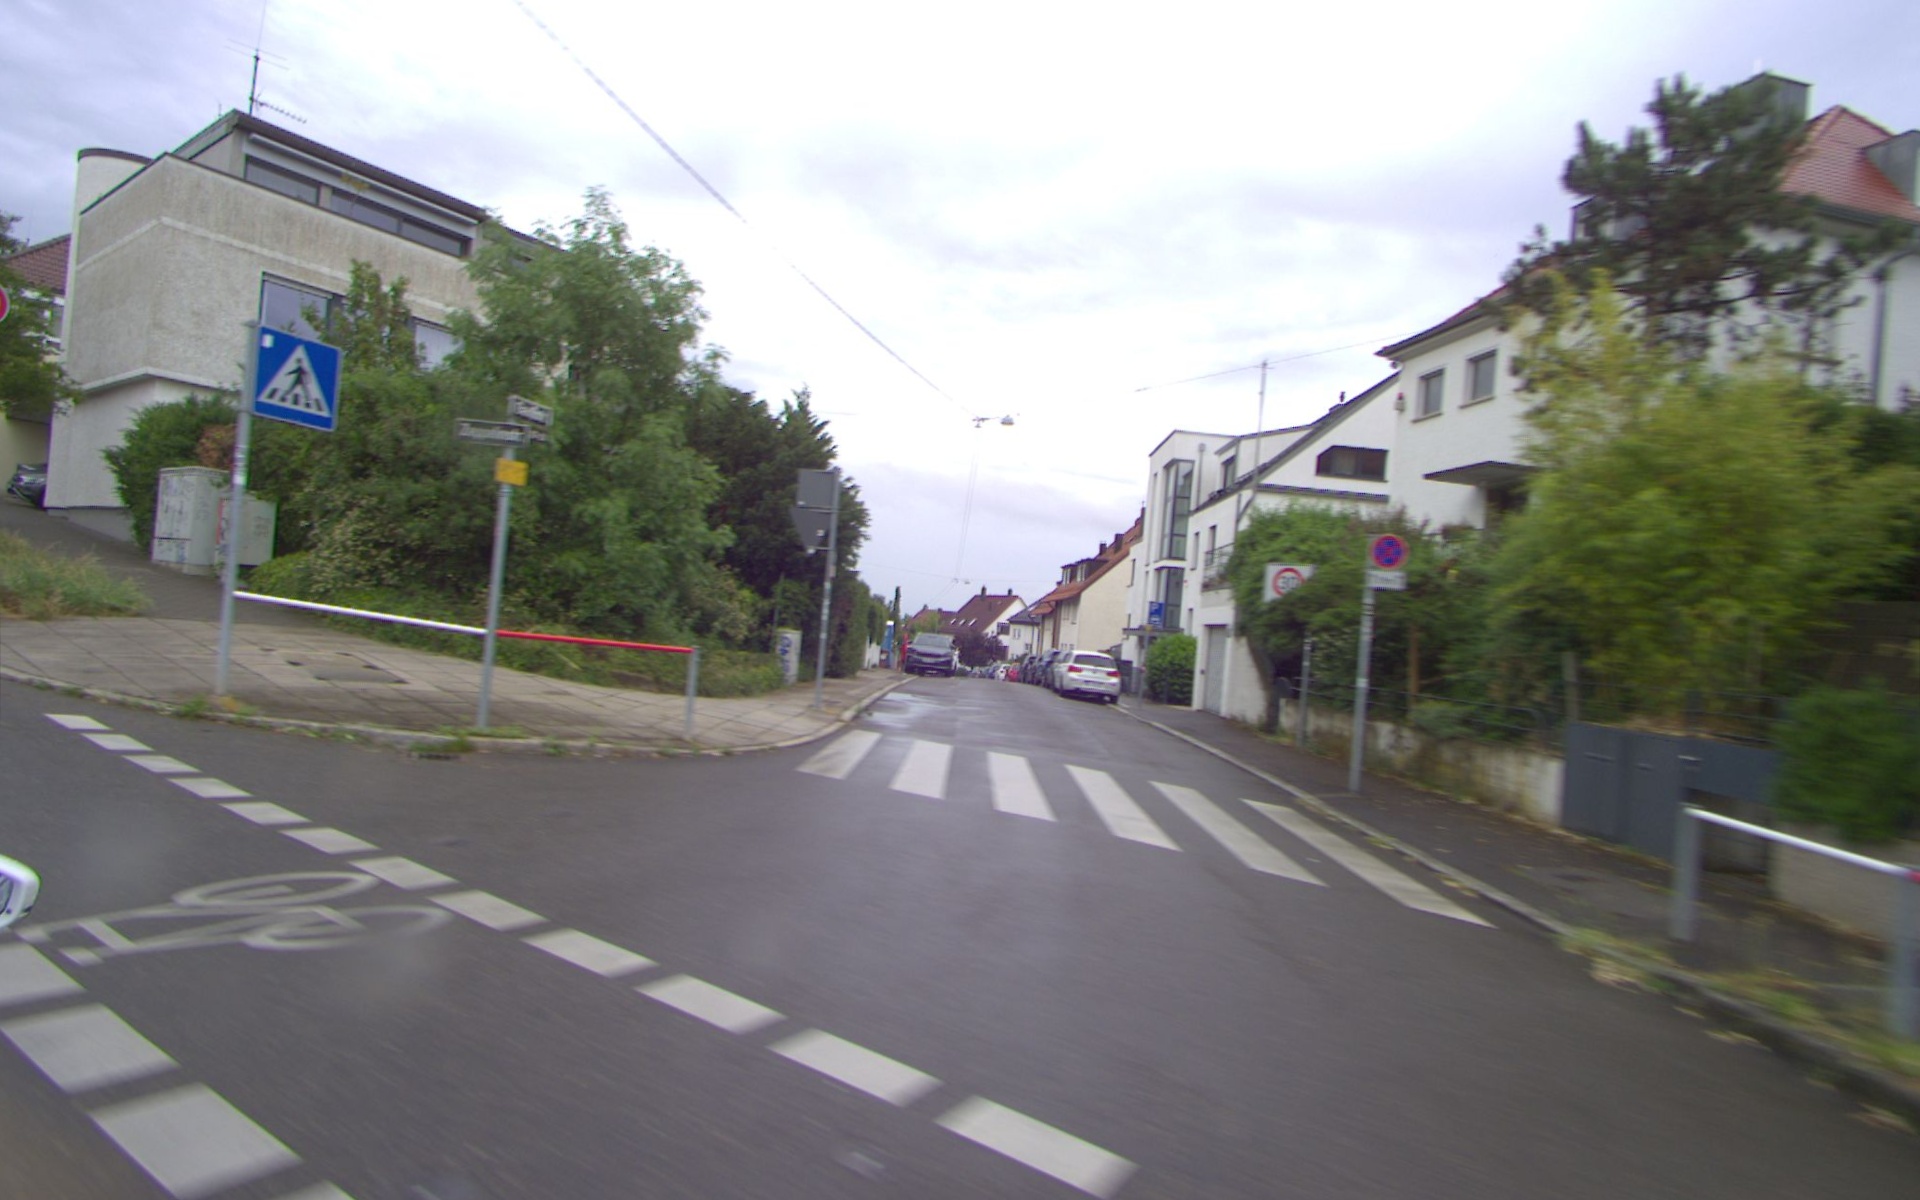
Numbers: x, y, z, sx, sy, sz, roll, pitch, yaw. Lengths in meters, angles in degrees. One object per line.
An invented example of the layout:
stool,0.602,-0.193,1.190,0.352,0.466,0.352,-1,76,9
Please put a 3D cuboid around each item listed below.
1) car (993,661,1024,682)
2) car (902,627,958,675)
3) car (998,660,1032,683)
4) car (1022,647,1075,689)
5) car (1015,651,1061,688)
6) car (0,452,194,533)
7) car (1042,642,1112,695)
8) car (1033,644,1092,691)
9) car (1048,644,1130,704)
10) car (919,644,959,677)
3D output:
car,3.458,5.115,72.109,1.831,1.245,4.004,7,-3,0
car,-1.210,2.088,40.104,1.963,1.613,4.006,6,-4,-2
car,3.601,4.683,66.406,1.831,1.245,4.004,7,-3,0
car,3.957,3.052,45.633,1.831,1.502,4.001,7,-1,0
car,3.969,3.539,51.841,1.831,1.502,4.001,7,-1,0
car,-23.801,-2.910,27.891,3.970,1.431,1.707,9,-1,-39
car,4.122,2.405,35.999,1.831,1.502,4.001,7,-1,0
car,4.105,2.697,40.898,1.831,1.502,4.001,7,-1,0
car,3.911,2.236,31.157,1.831,1.450,4.001,7,-1,0
car,-1.172,3.296,54.159,1.963,1.524,4.006,6,-4,-2
